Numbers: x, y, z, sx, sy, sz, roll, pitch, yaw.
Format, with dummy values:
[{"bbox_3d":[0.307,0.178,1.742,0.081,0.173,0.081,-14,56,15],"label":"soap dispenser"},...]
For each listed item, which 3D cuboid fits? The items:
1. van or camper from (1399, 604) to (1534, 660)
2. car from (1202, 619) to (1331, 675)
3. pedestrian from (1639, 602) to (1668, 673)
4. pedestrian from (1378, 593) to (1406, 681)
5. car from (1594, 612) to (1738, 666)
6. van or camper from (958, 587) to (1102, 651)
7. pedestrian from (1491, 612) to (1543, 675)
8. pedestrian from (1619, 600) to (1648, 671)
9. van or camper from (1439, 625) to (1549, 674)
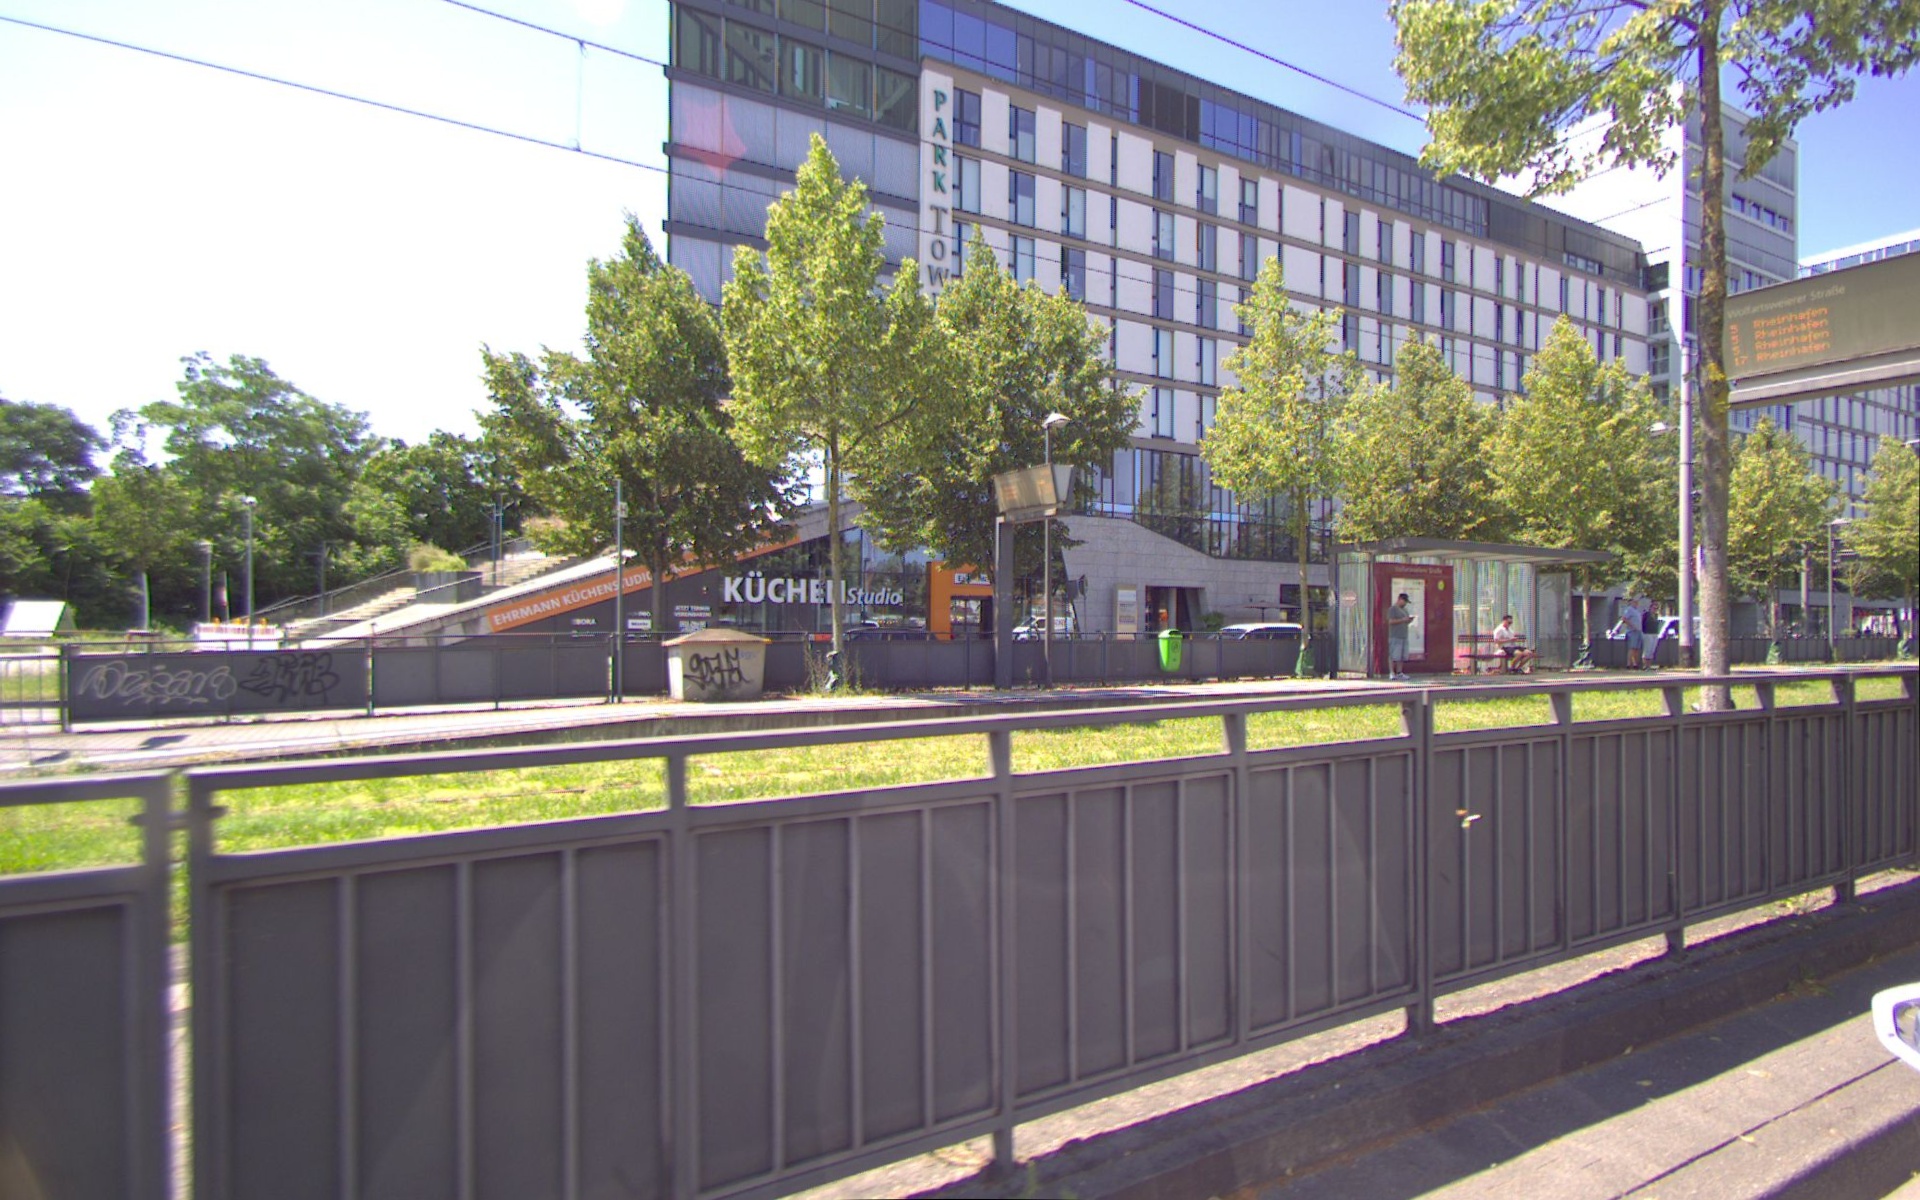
[{"bbox_3d":[22.952,1.453,45.450,6.692,2.418,2.167,2,-1,-30],"label":"van or camper"},{"bbox_3d":[9.503,1.437,31.101,3.914,1.637,1.563,2,-1,-29],"label":"car"},{"bbox_3d":[17.628,0.948,25.545,0.579,1.775,0.407,1,-1,-33],"label":"pedestrian"},{"bbox_3d":[8.855,0.755,20.592,0.458,1.762,0.477,0,-1,32],"label":"pedestrian"},{"bbox_3d":[25.664,1.393,36.486,5.011,1.830,2.451,2,-1,-30],"label":"car"},{"bbox_3d":[3.385,0.939,47.621,6.713,2.859,2.362,2,-1,-32],"label":"van or camper"},{"bbox_3d":[12.896,0.991,23.254,0.634,1.432,0.830,2,-1,-30],"label":"pedestrian"},{"bbox_3d":[16.934,0.894,25.265,0.579,1.775,0.407,1,-1,-33],"label":"pedestrian"},{"bbox_3d":[16.710,1.523,31.397,3.388,1.446,1.469,2,-1,-30],"label":"van or camper"}]
